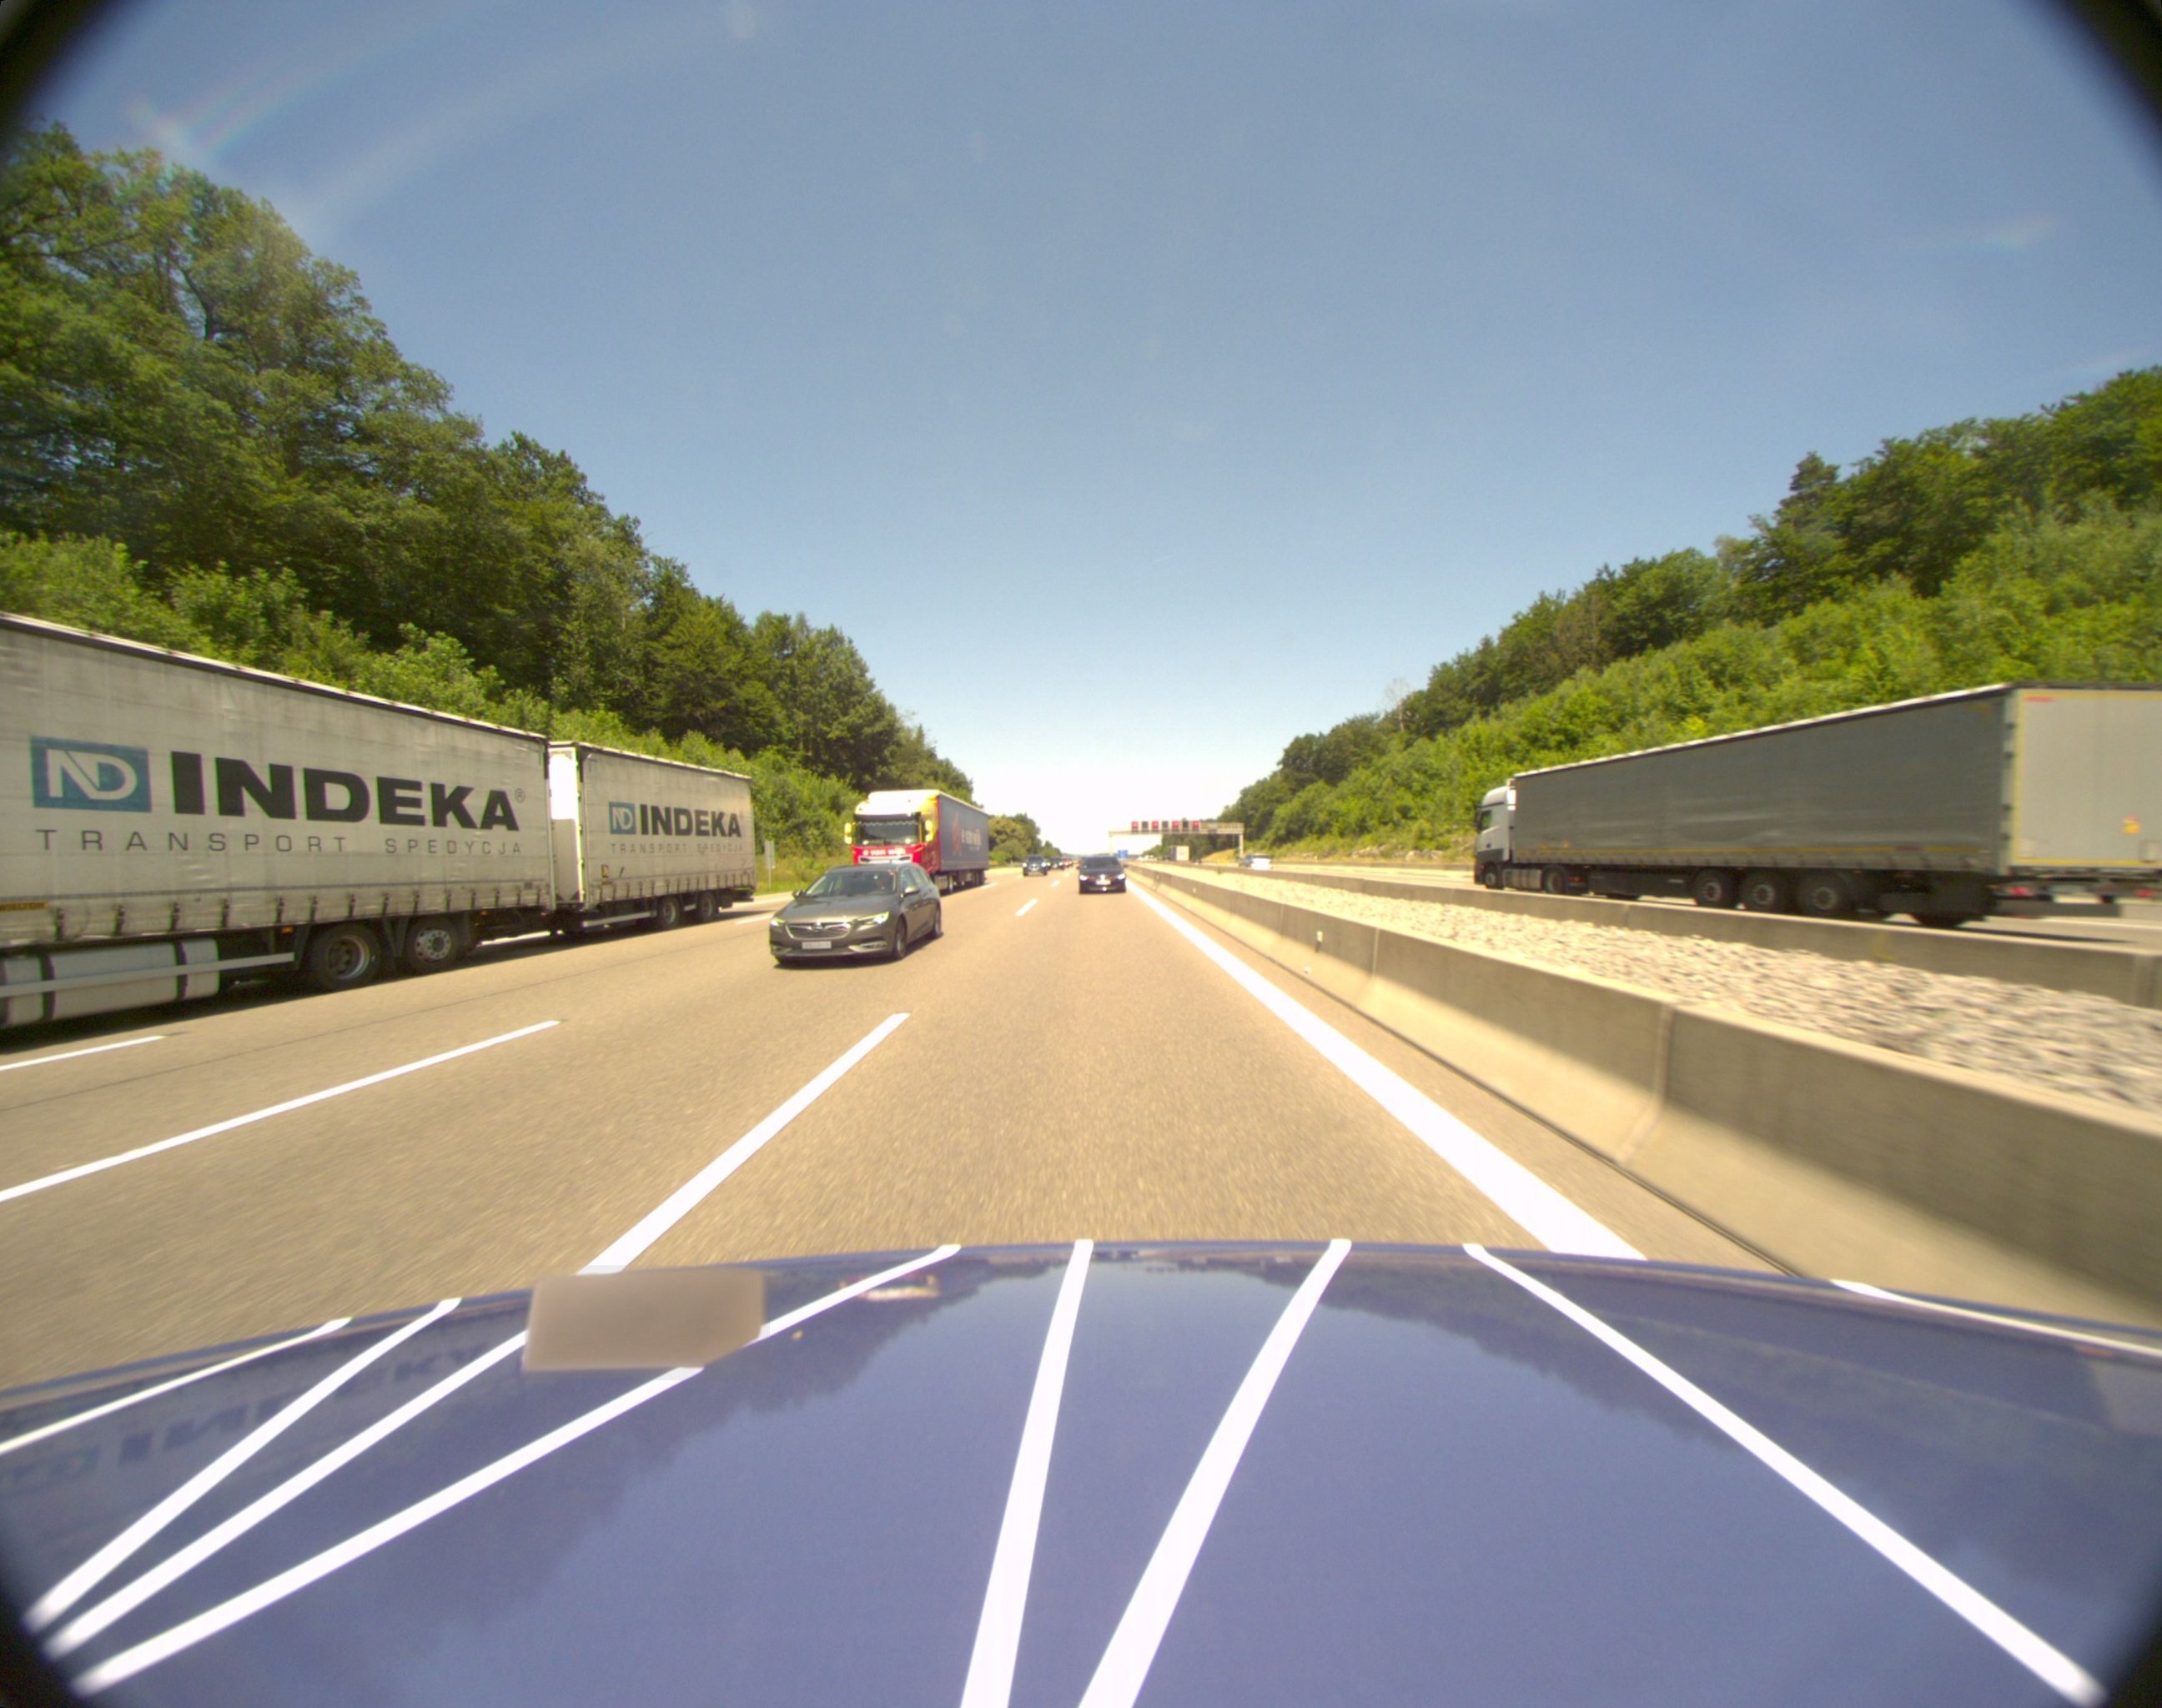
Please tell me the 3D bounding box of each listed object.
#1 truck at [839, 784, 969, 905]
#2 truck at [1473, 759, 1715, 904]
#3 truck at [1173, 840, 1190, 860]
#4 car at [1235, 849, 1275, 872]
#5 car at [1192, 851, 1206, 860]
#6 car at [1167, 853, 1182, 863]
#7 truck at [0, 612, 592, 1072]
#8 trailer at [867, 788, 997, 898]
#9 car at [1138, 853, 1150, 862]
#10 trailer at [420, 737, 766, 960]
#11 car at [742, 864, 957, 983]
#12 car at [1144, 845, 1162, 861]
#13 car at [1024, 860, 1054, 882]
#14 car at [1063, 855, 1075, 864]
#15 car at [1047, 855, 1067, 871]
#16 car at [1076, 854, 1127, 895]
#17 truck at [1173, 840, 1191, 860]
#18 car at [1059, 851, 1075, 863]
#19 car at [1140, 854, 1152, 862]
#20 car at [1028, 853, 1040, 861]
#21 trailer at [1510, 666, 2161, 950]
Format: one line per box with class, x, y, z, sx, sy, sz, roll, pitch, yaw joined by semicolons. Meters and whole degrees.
truck;-6.482;-0.341;29.221;3.018;3.958;7.539;-2;0;1
truck;15.947;-0.652;24.436;3.273;3.960;6.797;-1;1;1
truck;21.506;-0.866;162.796;2.666;4.204;8.412;-1;0;1
car;12.477;0.432;54.765;1.683;1.539;5.059;-1;0;0
car;21.462;0.240;138.339;1.910;1.644;4.160;-1;0;2
car;13.331;0.502;109.023;1.743;1.374;3.871;-1;0;1
truck;-11.019;-0.100;9.184;2.728;4.137;10.968;-2;1;1
trailer;-6.444;-0.468;36.101;2.926;4.119;14.848;-1;0;1
car;11.367;0.666;137.943;1.910;1.504;4.159;-2;1;2
trailer;-10.843;-0.145;18.374;2.585;4.046;8.382;-2;1;1
car;-3.615;0.991;13.085;1.972;1.444;5.224;-3;0;1
car;9.725;-0.115;102.655;1.998;2.040;5.402;-1;1;1
car;-3.285;1.279;59.580;1.910;1.504;4.159;-2;1;2
car;-1.824;0.816;115.712;1.715;1.308;3.490;-2;1;1
car;-2.557;0.983;82.152;1.910;1.504;4.159;-2;1;2
car;0.790;0.749;29.527;1.777;1.425;4.144;-2;0;1
truck;21.688;-0.816;163.595;2.919;4.204;9.863;-1;0;1
car;-1.817;0.396;102.209;1.910;1.504;4.159;-2;1;2
car;11.487;0.729;134.515;1.743;1.374;3.870;-2;1;1
car;-8.853;0.548;142.430;1.910;1.504;4.159;-1;0;0
trailer;15.715;-0.745;18.258;3.108;4.229;13.839;0;1;1
